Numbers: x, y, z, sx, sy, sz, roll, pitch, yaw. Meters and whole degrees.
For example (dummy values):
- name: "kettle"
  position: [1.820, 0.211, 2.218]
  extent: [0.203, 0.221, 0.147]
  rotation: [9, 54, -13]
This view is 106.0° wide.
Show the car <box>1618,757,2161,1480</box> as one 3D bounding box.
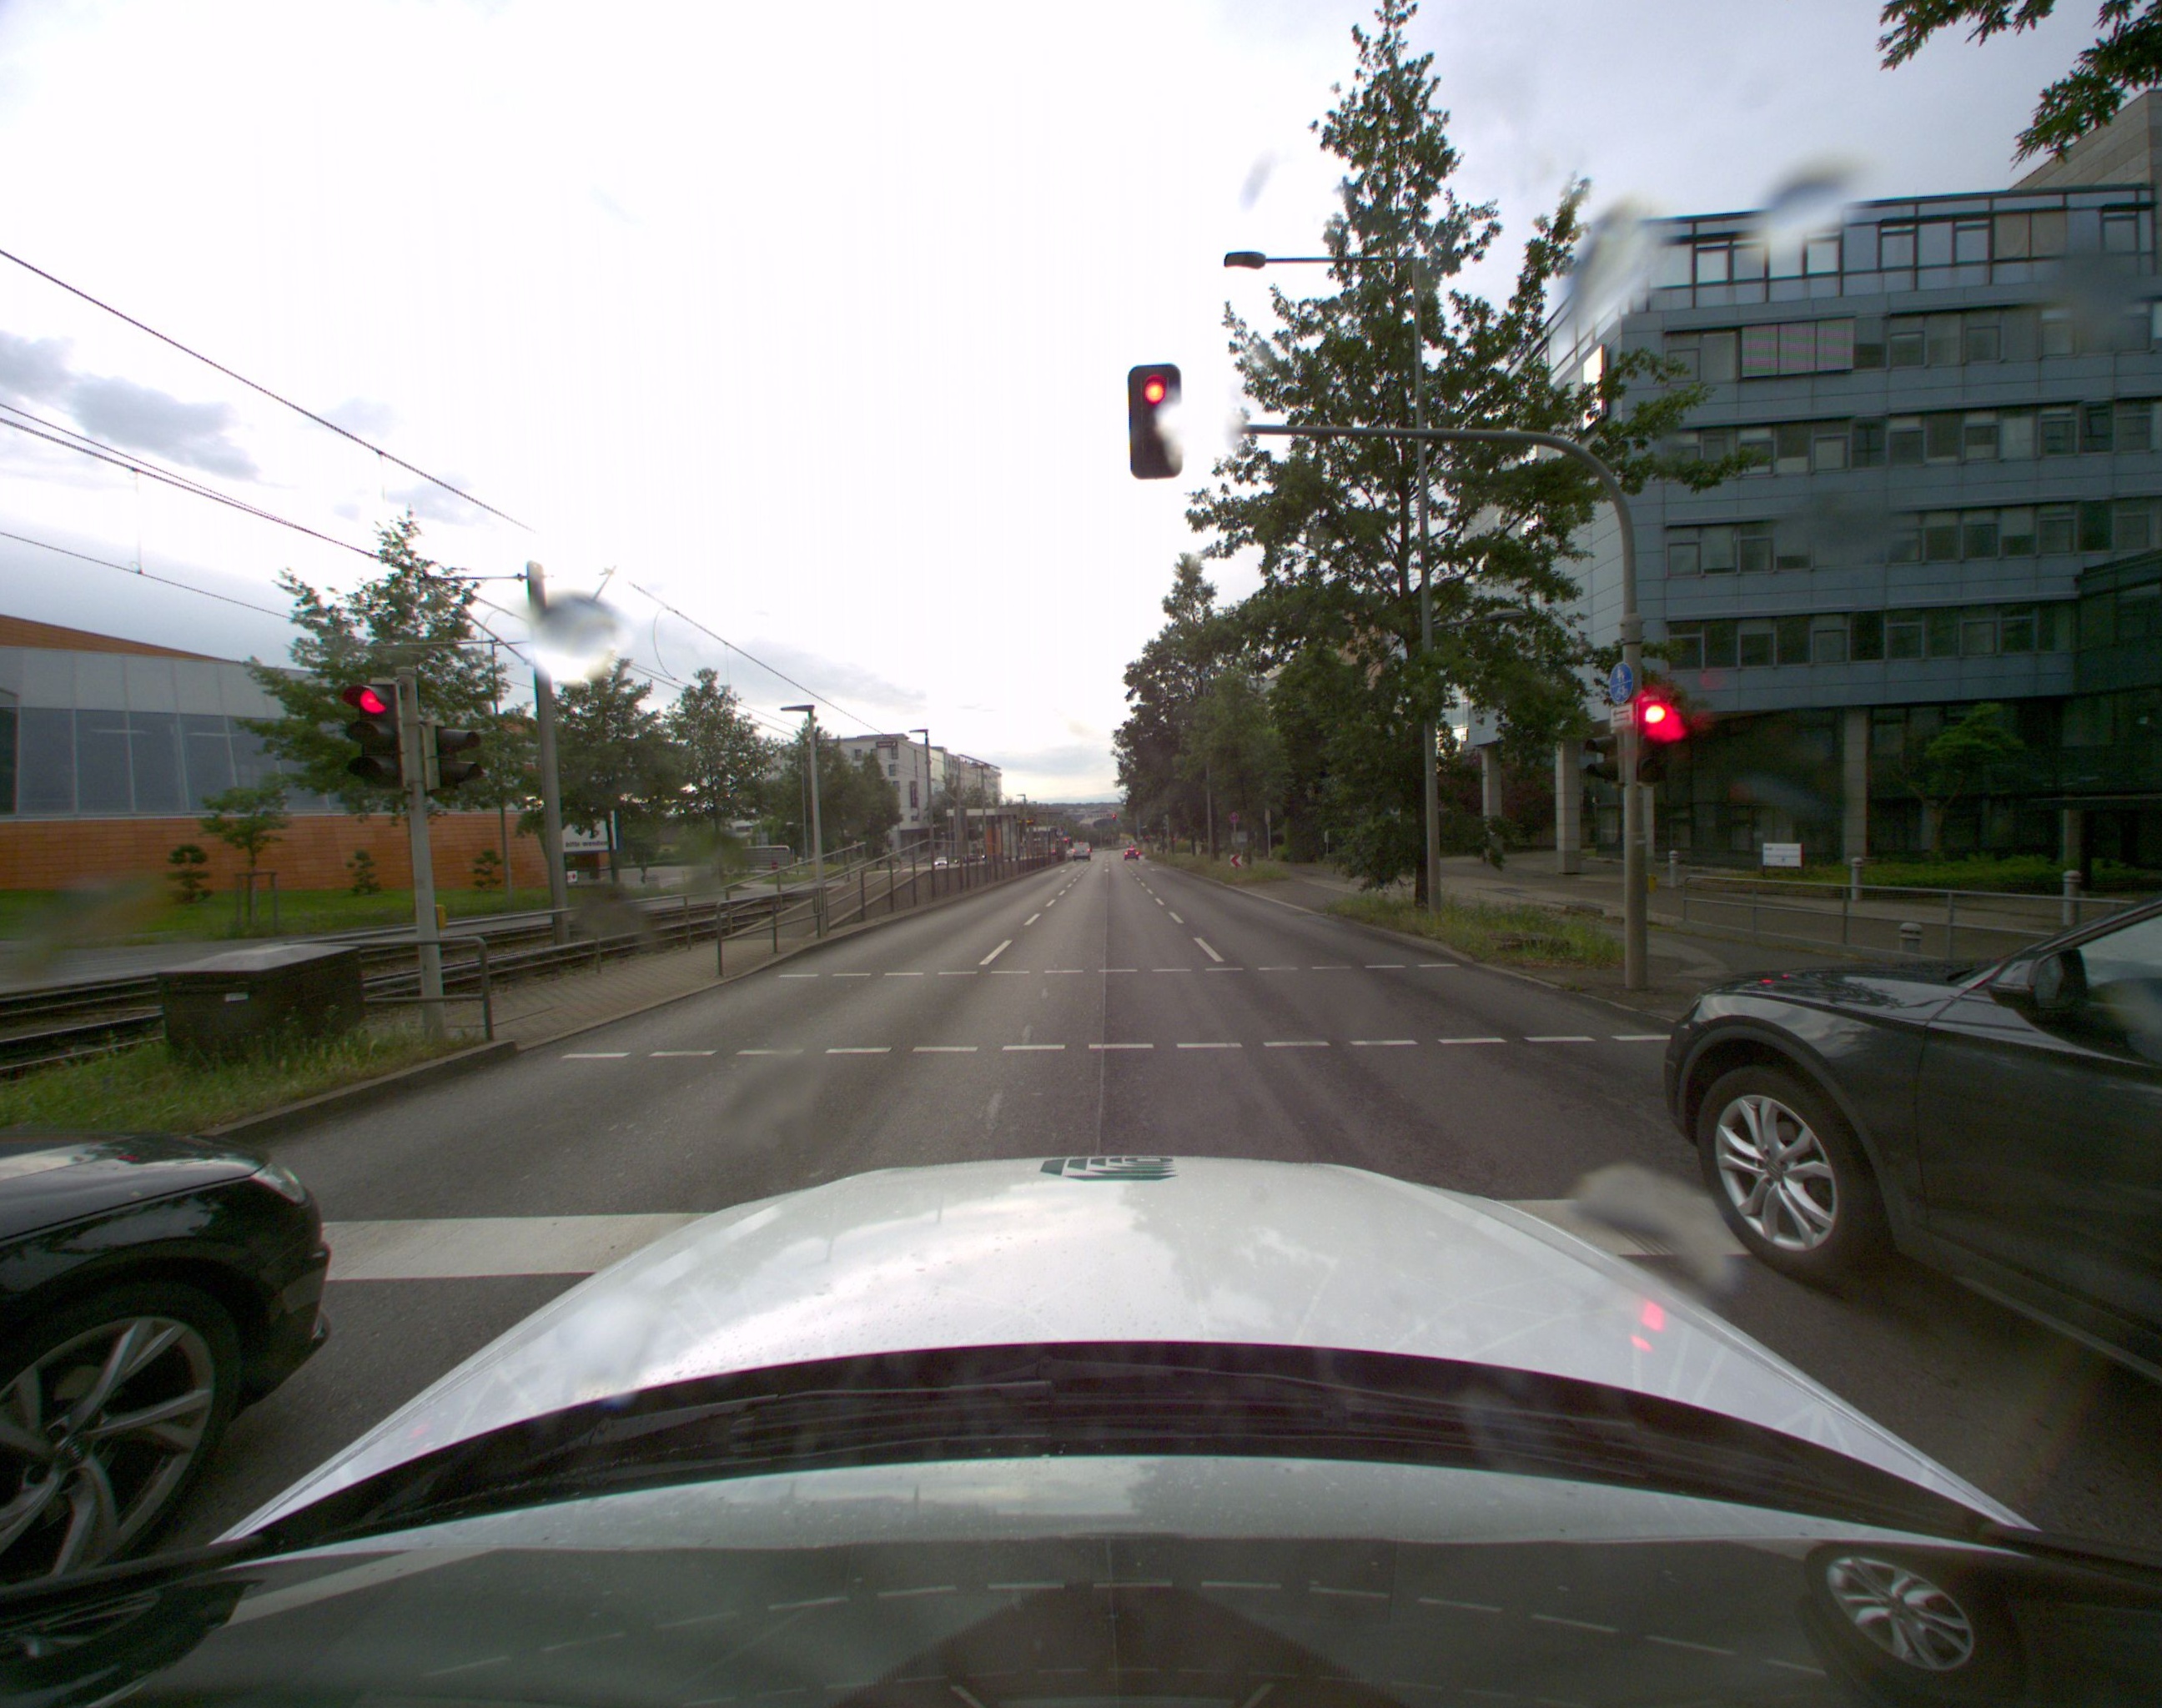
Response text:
- name: "car"
  position: [3.294, 0.574, 1.445]
  extent: [1.811, 1.612, 4.472]
  rotation: [-1, 0, 2]

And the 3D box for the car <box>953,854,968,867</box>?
- name: "car"
  position: [-15.417, 0.839, 103.994]
  extent: [1.651, 1.436, 3.865]
  rotation: [-4, 0, -11]

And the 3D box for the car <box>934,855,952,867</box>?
- name: "car"
  position: [-18.105, 0.911, 107.135]
  extent: [1.645, 1.436, 3.878]
  rotation: [-4, 0, -1]

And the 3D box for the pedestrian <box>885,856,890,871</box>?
- name: "pedestrian"
  position: [-25.847, 1.241, 108.885]
  extent: [0.473, 1.920, 0.490]
  rotation: [-1, 0, 1]

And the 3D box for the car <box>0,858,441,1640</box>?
- name: "car"
  position: [-2.975, 0.774, 0.310]
  extent: [1.774, 1.466, 4.515]
  rotation: [-1, 0, 2]

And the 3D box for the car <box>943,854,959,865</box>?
- name: "car"
  position: [-18.054, 0.737, 113.119]
  extent: [1.562, 1.378, 3.518]
  rotation: [-2, 0, 0]

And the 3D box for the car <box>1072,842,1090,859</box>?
- name: "car"
  position: [-0.027, -0.457, 102.609]
  extent: [2.085, 2.053, 4.608]
  rotation: [-1, 0, 2]

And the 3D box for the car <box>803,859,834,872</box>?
- name: "car"
  position: [-31.219, 1.374, 96.864]
  extent: [3.341, 1.387, 1.440]
  rotation: [-1, 0, 18]

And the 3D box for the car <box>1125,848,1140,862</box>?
- name: "car"
  position: [6.488, 0.079, 102.835]
  extent: [1.767, 1.691, 3.847]
  rotation: [-1, 0, 2]
